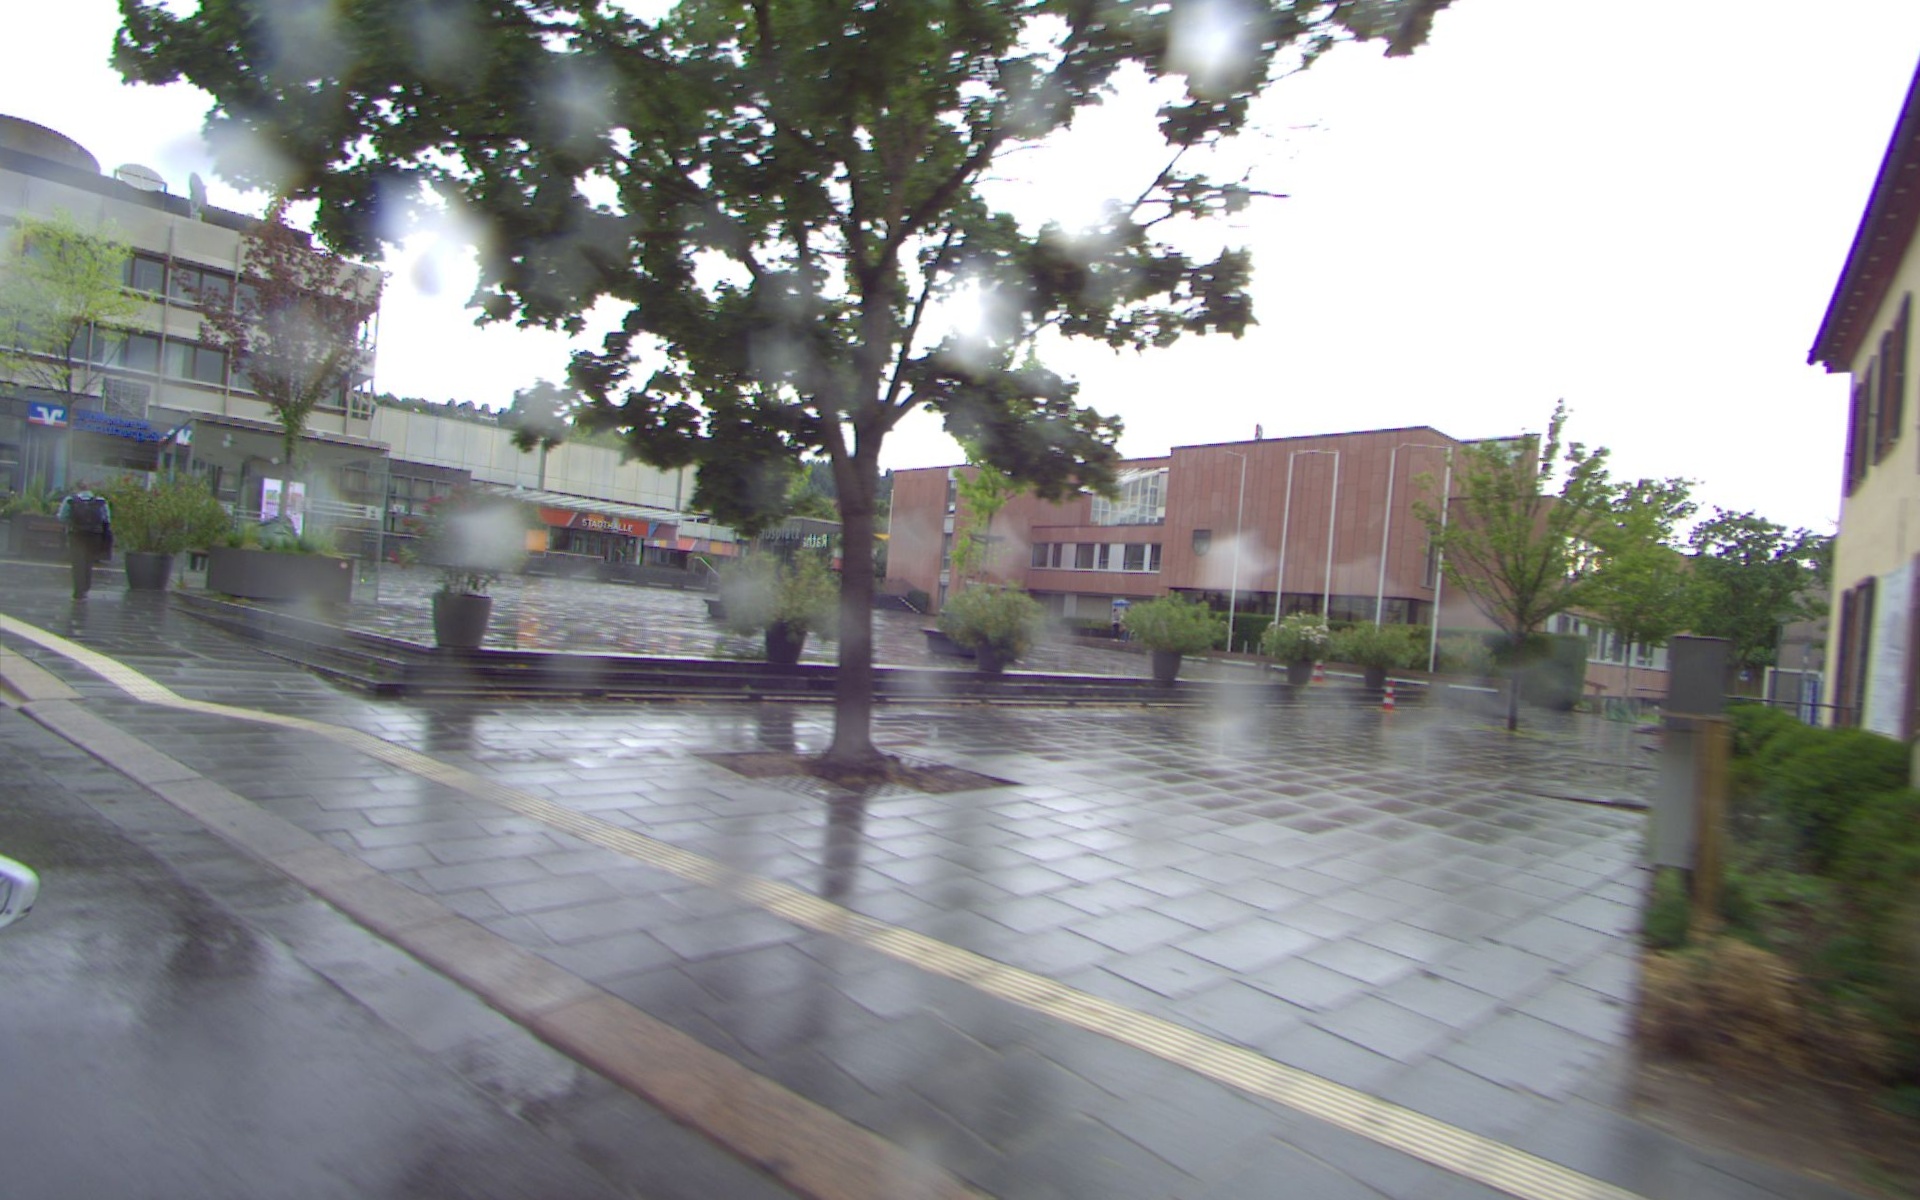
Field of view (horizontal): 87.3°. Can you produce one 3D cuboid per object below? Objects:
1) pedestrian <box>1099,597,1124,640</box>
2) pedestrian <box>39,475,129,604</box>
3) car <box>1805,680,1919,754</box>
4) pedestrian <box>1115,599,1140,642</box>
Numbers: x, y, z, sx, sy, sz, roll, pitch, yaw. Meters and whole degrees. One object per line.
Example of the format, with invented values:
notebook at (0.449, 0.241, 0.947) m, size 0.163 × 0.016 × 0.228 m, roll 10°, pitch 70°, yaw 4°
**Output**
pedestrian at (7.444, 0.904, 49.398) m, size 0.847 × 2.039 × 0.731 m, roll 5°, pitch 1°, yaw -7°
pedestrian at (-11.833, -0.806, 13.586) m, size 0.683 × 1.638 × 0.727 m, roll 6°, pitch 1°, yaw 38°
car at (34.396, 4.373, 37.329) m, size 1.986 × 2.246 × 4.324 m, roll 5°, pitch 1°, yaw -43°
pedestrian at (8.299, 1.003, 49.852) m, size 0.847 × 2.039 × 0.731 m, roll 5°, pitch 1°, yaw -7°
